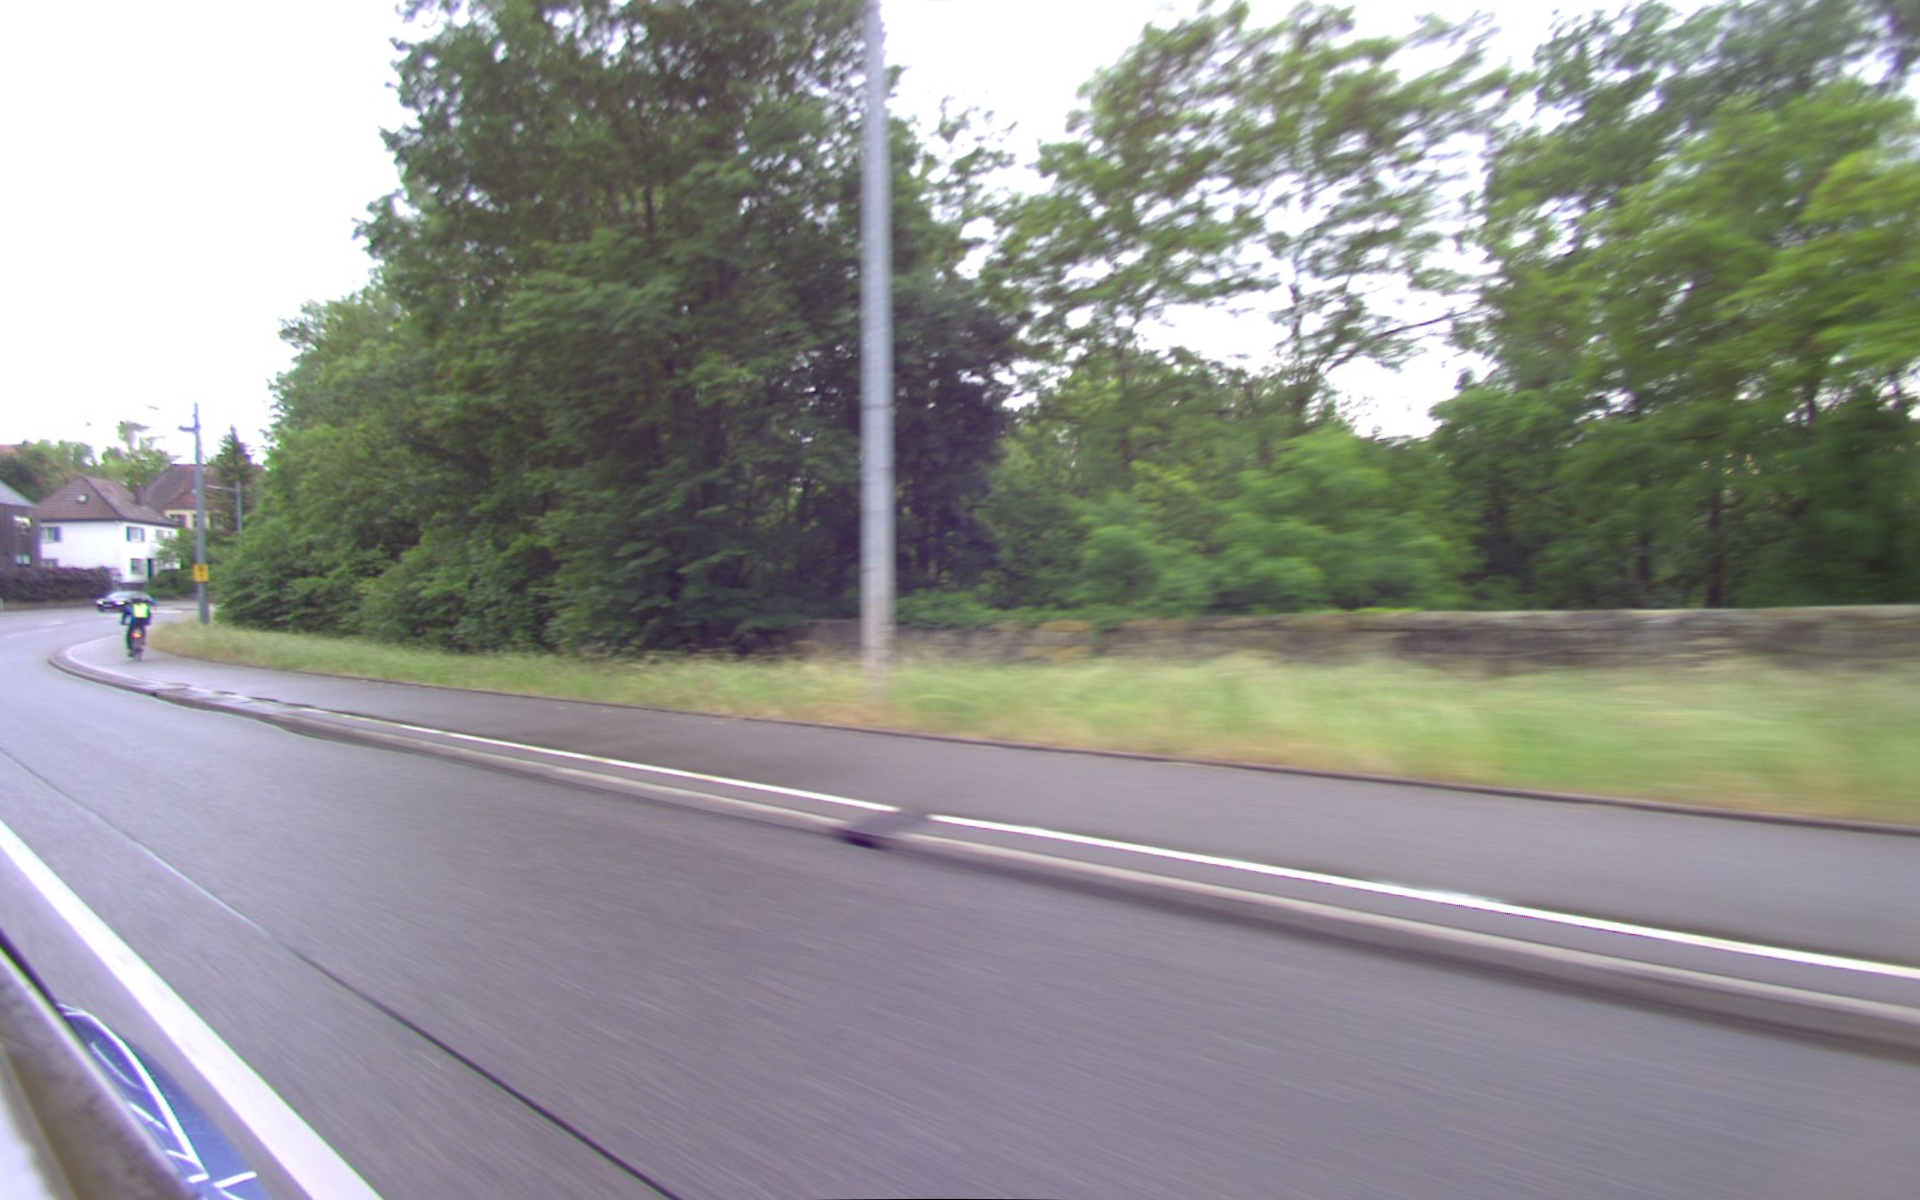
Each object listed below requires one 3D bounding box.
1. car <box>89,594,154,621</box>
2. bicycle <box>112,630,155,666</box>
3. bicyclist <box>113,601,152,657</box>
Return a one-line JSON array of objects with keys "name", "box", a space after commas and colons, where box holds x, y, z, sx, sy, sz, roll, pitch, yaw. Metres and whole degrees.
[{"name": "car", "box": [-61.263, 0.534, 74.050, 1.967, 1.729, 4.010, -1, 2, -11]}, {"name": "bicycle", "box": [-23.922, 1.368, 29.284, 0.716, 0.949, 2.552, -4, 2, -44]}, {"name": "bicyclist", "box": [-23.859, 0.827, 29.173, 0.700, 1.567, 1.171, -4, 2, -44]}]
